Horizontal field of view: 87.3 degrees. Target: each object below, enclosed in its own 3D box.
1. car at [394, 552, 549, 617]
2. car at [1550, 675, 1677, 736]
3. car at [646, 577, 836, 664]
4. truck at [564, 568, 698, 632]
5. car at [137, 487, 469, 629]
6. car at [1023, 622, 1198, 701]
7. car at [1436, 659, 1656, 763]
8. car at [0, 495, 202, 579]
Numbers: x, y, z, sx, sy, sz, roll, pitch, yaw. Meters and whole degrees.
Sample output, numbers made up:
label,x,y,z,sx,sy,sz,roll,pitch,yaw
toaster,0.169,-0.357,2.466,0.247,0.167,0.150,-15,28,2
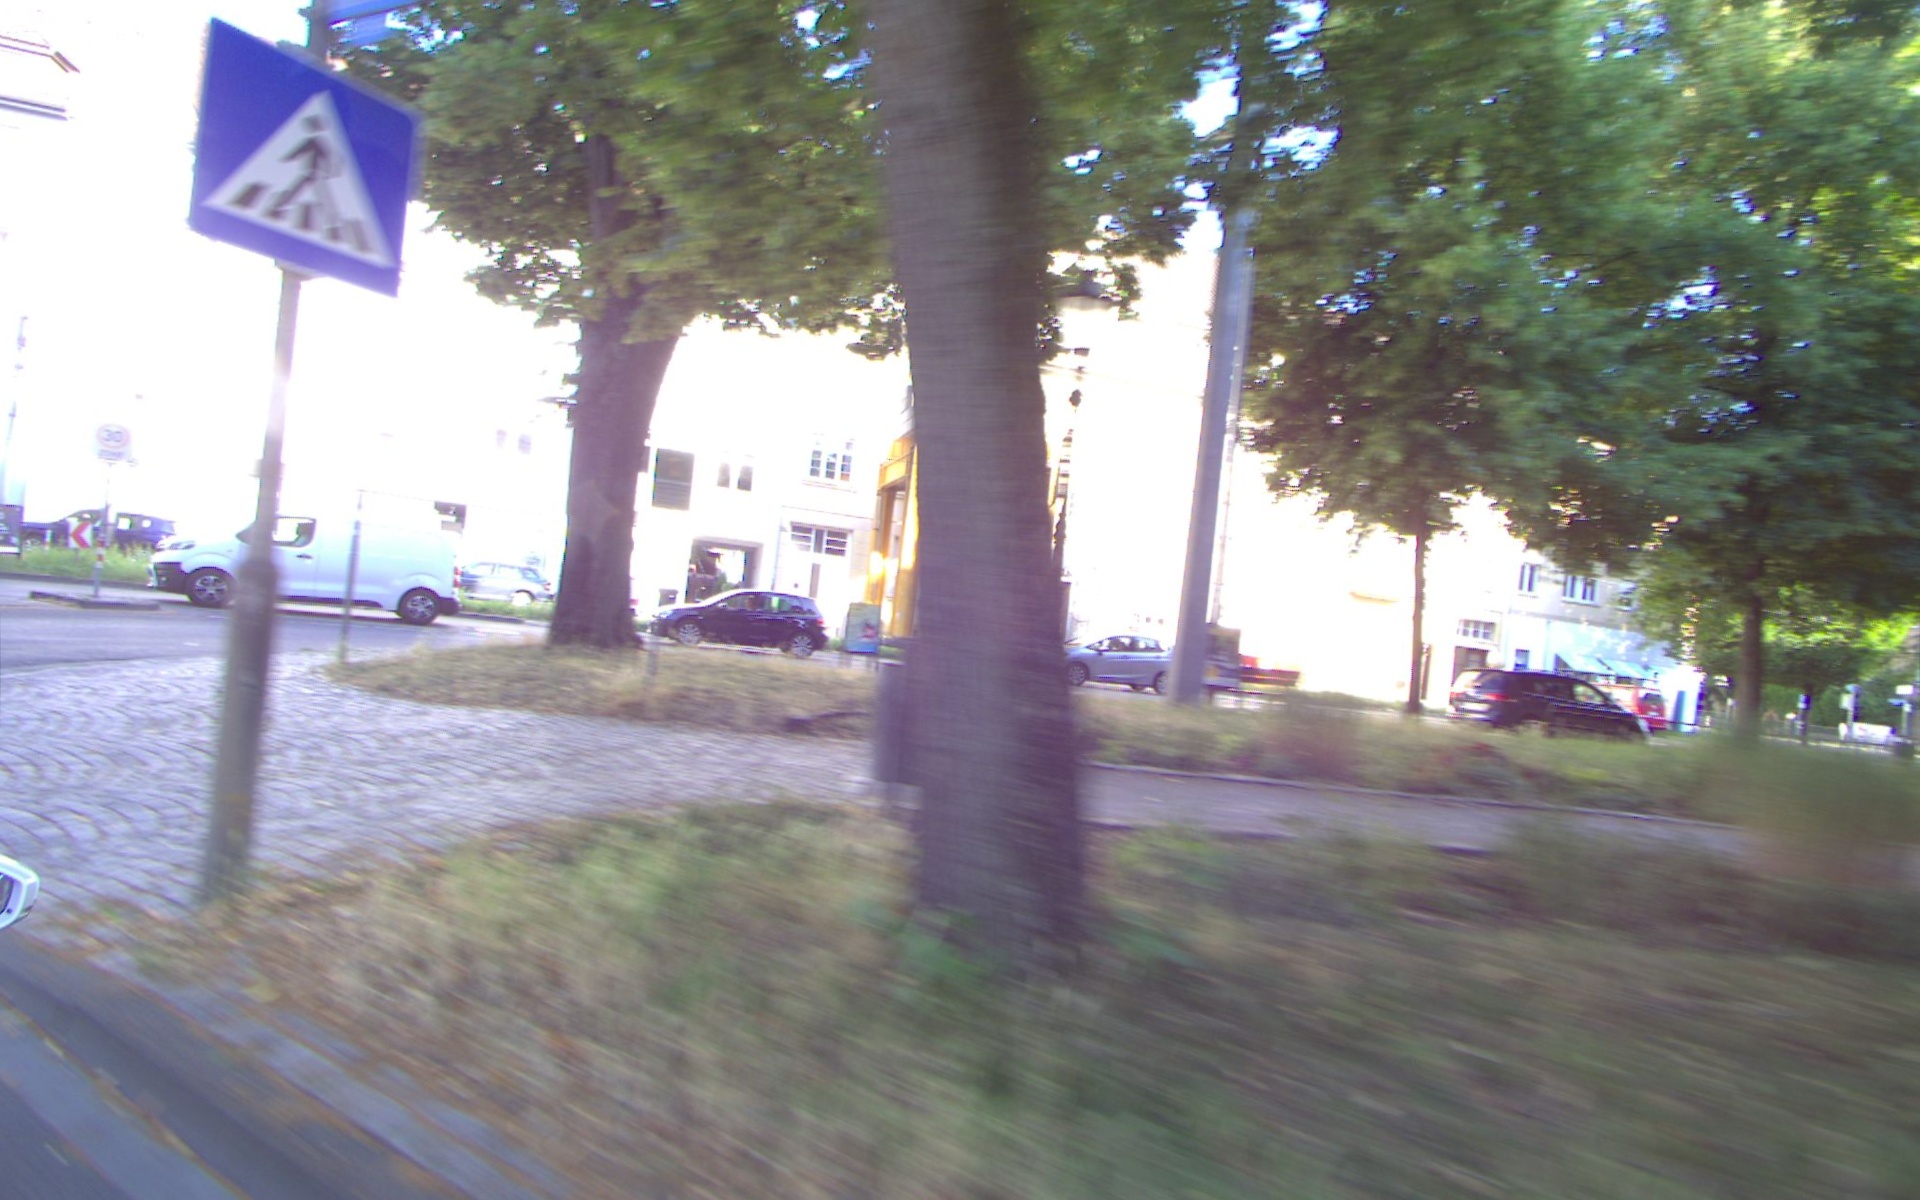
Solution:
label,x,y,z,sx,sy,sz,roll,pitch,yaw
car,-15.433,-0.488,32.019,4.037,1.470,1.993,8,-1,-18
car,27.864,4.482,43.033,1.972,1.944,4.055,7,-1,-19
car,-5.148,0.463,23.523,4.014,1.462,1.992,8,-1,-19
truck,-11.058,-0.004,33.985,4.037,1.604,1.993,8,-1,-18
car,-12.160,-0.709,18.912,4.860,1.876,1.980,8,-1,-36
car,3.989,1.625,26.775,4.014,1.537,1.992,8,-1,-19
car,12.986,2.454,22.348,3.940,1.814,1.994,7,-2,-18
car,-24.791,-1.763,28.956,4.148,1.770,1.992,8,-1,-18
